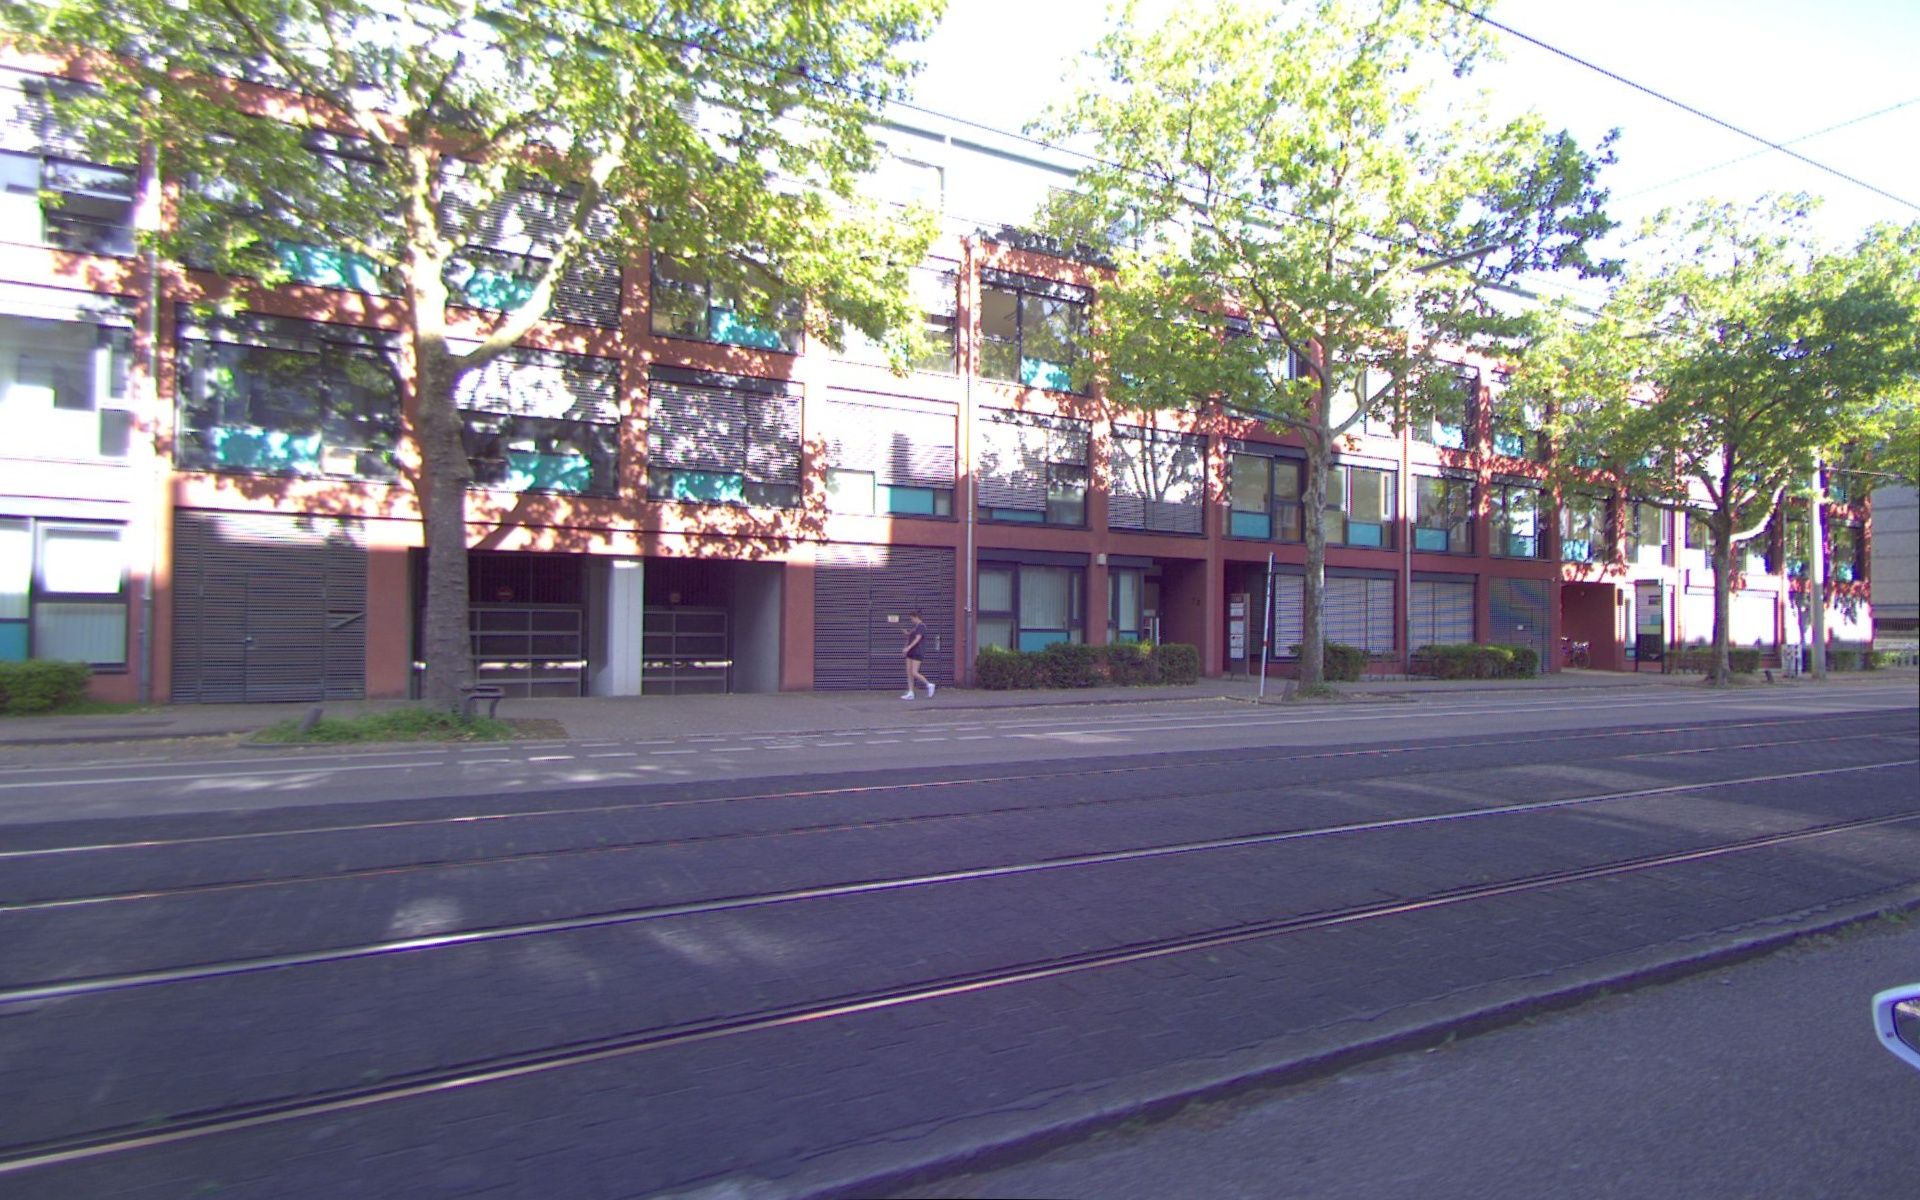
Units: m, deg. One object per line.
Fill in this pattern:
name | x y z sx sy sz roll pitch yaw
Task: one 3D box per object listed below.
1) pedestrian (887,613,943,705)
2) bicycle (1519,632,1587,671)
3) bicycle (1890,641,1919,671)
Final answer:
pedestrian | -0.886 1.140 19.714 0.889 1.741 0.622 1 1 -28
bicycle | 21.310 1.839 36.153 0.611 1.289 2.051 1 0 -31
bicycle | 43.936 2.569 45.879 0.655 1.295 2.001 1 0 -26
